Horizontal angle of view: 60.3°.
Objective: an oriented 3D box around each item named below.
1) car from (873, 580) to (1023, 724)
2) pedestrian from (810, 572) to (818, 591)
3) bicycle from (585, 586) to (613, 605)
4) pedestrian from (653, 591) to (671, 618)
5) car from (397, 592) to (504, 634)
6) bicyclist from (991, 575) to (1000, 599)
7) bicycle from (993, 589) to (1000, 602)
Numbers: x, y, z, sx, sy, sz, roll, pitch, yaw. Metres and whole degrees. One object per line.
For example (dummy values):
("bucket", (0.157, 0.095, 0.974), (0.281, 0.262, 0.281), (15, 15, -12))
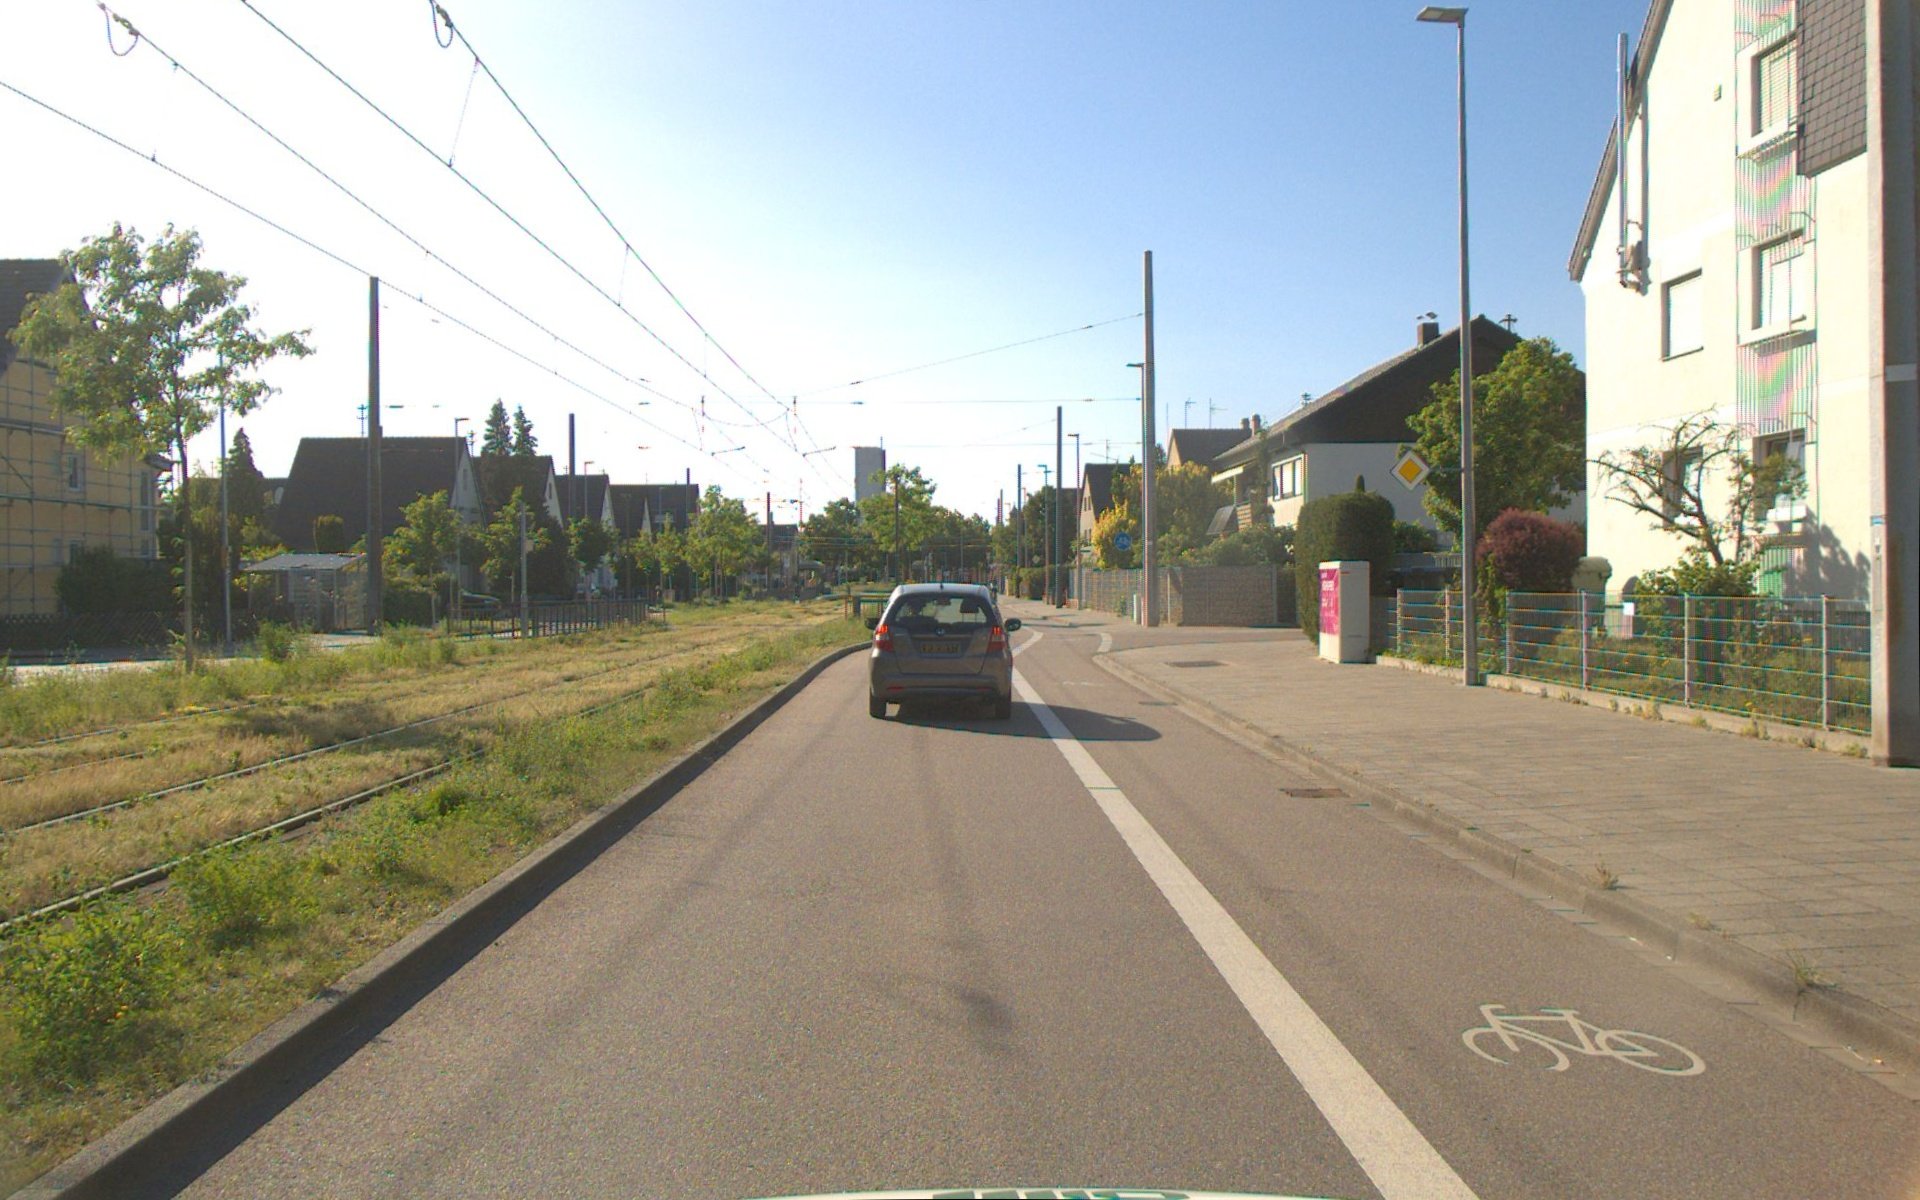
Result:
("car", (-0.198, 0.560, 20.033), (1.637, 1.562, 3.485), (1, 0, -2))
("pedestrian", (-11.911, -1.532, 134.937), (0.662, 1.562, 0.748), (-1, 1, -5))
("bicycle", (-26.643, -0.333, 122.076), (1.951, 1.389, 0.704), (-1, 0, -8))
("pedestrian", (-19.161, 0.293, 106.447), (0.945, 1.669, 1.085), (-1, 0, -1))
("car", (-23.467, 0.563, 76.329), (4.461, 1.765, 2.046), (-2, 1, -13))
("bicyclist", (2.548, -0.937, 118.405), (0.586, 1.731, 0.683), (0, 0, -1))
("bicycle", (2.631, -0.319, 118.675), (0.465, 0.978, 1.657), (0, 0, 0))
